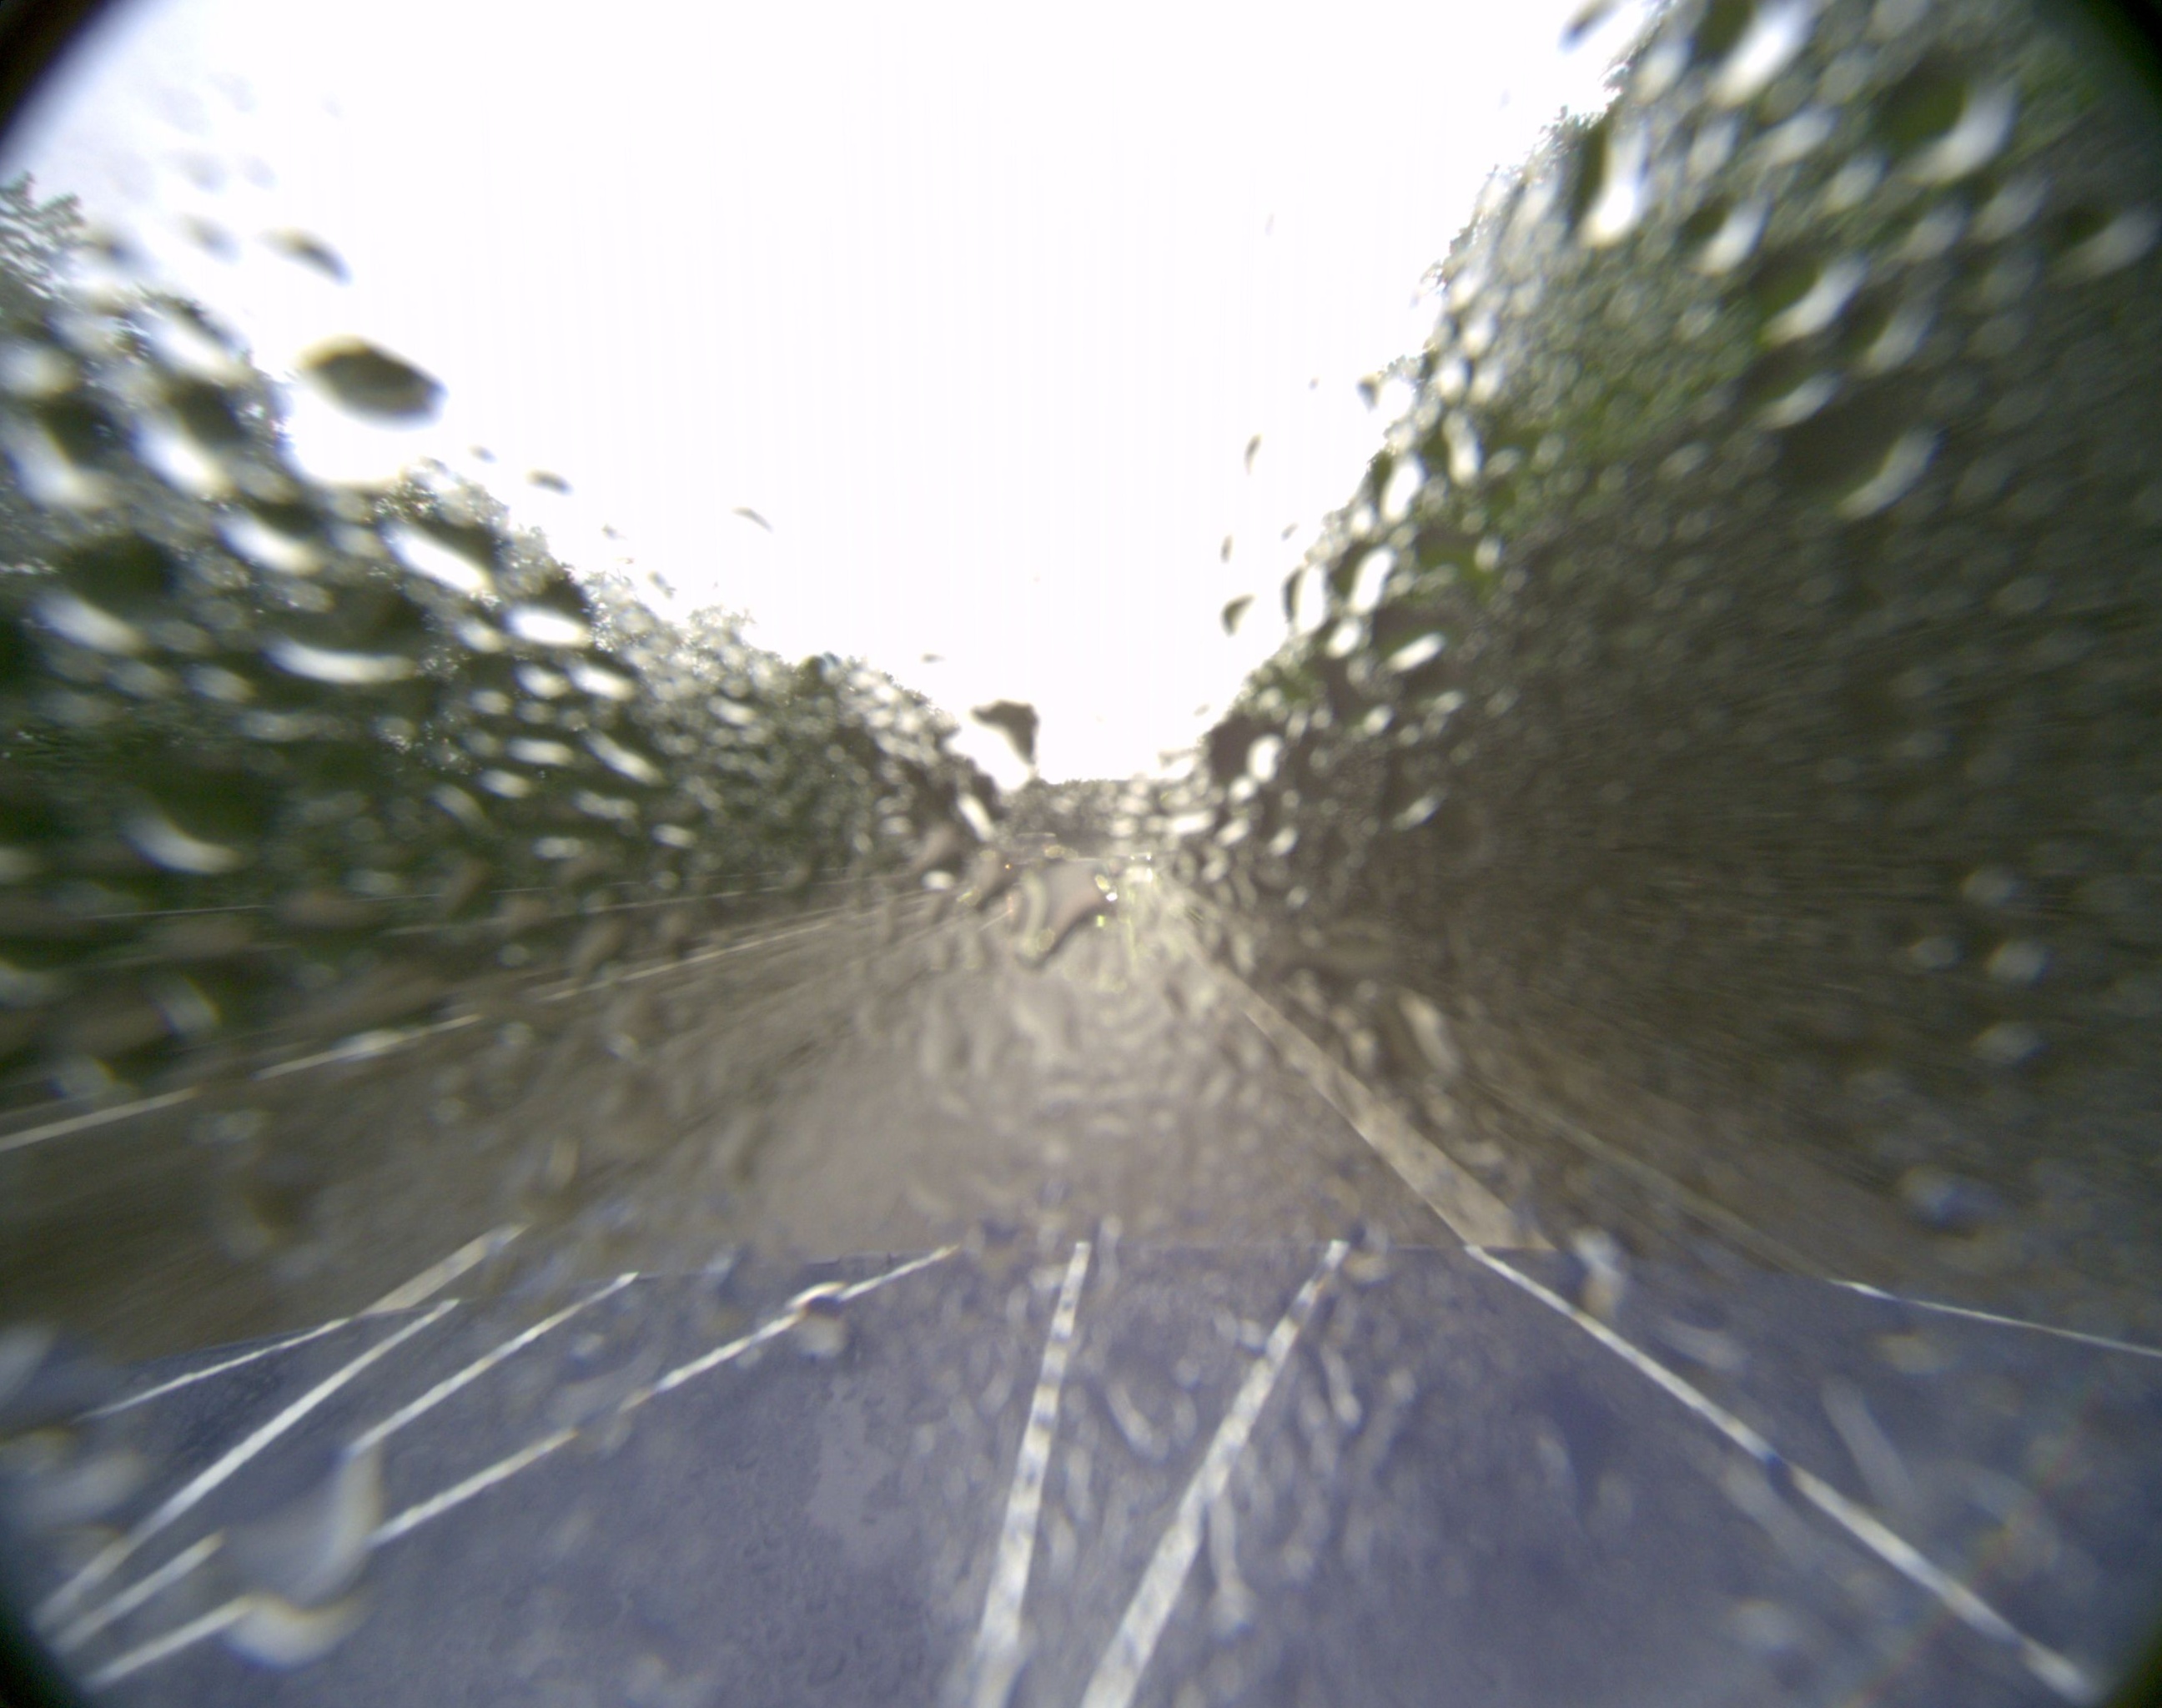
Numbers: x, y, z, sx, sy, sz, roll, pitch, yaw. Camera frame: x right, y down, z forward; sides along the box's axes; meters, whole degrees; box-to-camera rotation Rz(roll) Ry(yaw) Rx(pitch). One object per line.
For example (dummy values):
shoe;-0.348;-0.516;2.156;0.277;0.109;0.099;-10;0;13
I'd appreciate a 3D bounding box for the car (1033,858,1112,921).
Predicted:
car;-0.167;0.861;20.046;1.827;1.375;4.000;-2;0;1

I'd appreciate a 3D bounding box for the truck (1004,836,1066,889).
truck;-2.224;0.371;39.639;2.108;2.481;8.004;-1;0;4

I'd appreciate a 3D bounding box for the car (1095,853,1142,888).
car;1.793;0.707;35.043;1.826;1.375;4.001;-4;0;6

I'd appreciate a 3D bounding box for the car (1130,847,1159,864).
car;5.857;0.101;69.544;1.825;1.375;4.004;-3;0;15
